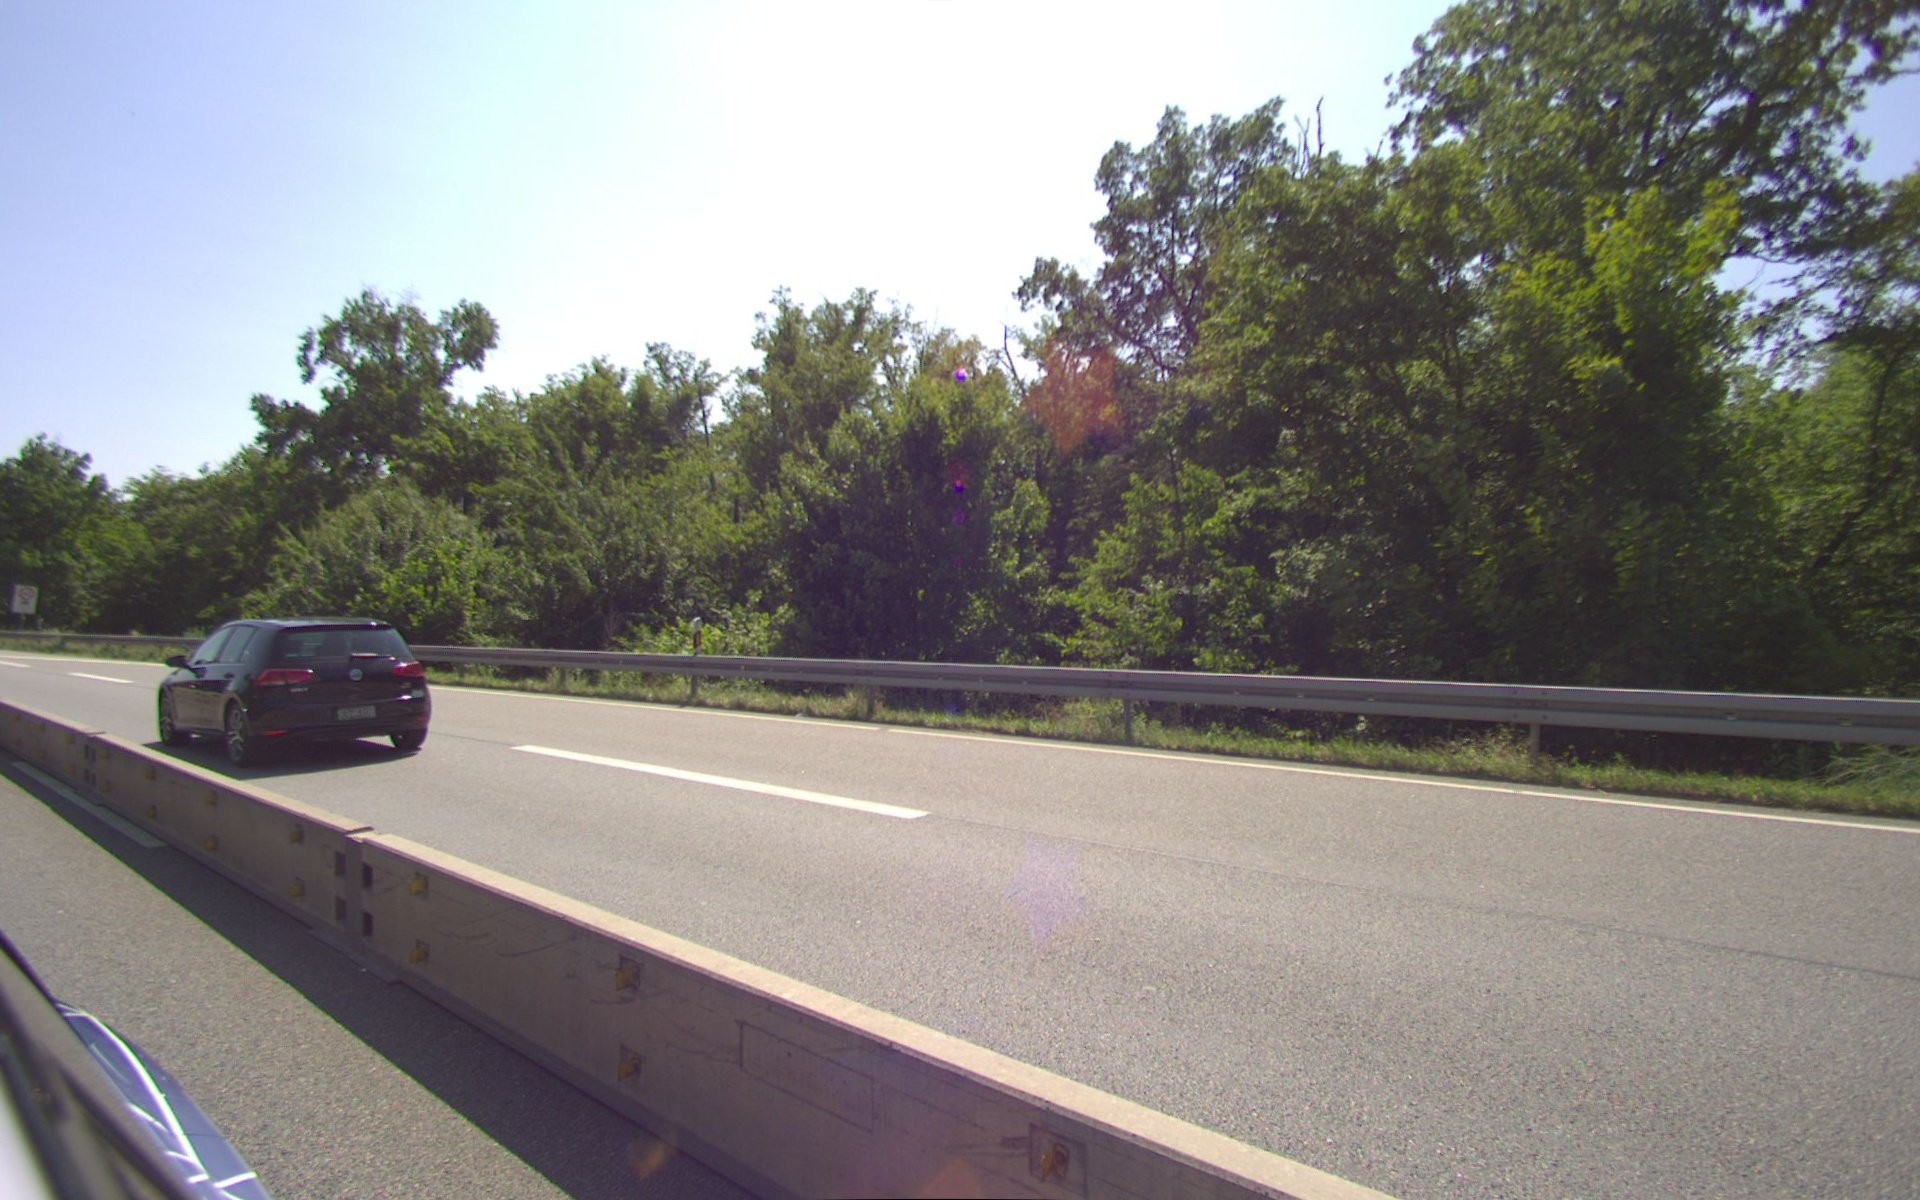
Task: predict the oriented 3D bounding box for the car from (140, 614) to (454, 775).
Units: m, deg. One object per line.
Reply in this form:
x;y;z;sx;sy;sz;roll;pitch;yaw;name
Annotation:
-7.429;0.900;11.193;4.105;1.435;1.797;-1;-1;40;car
